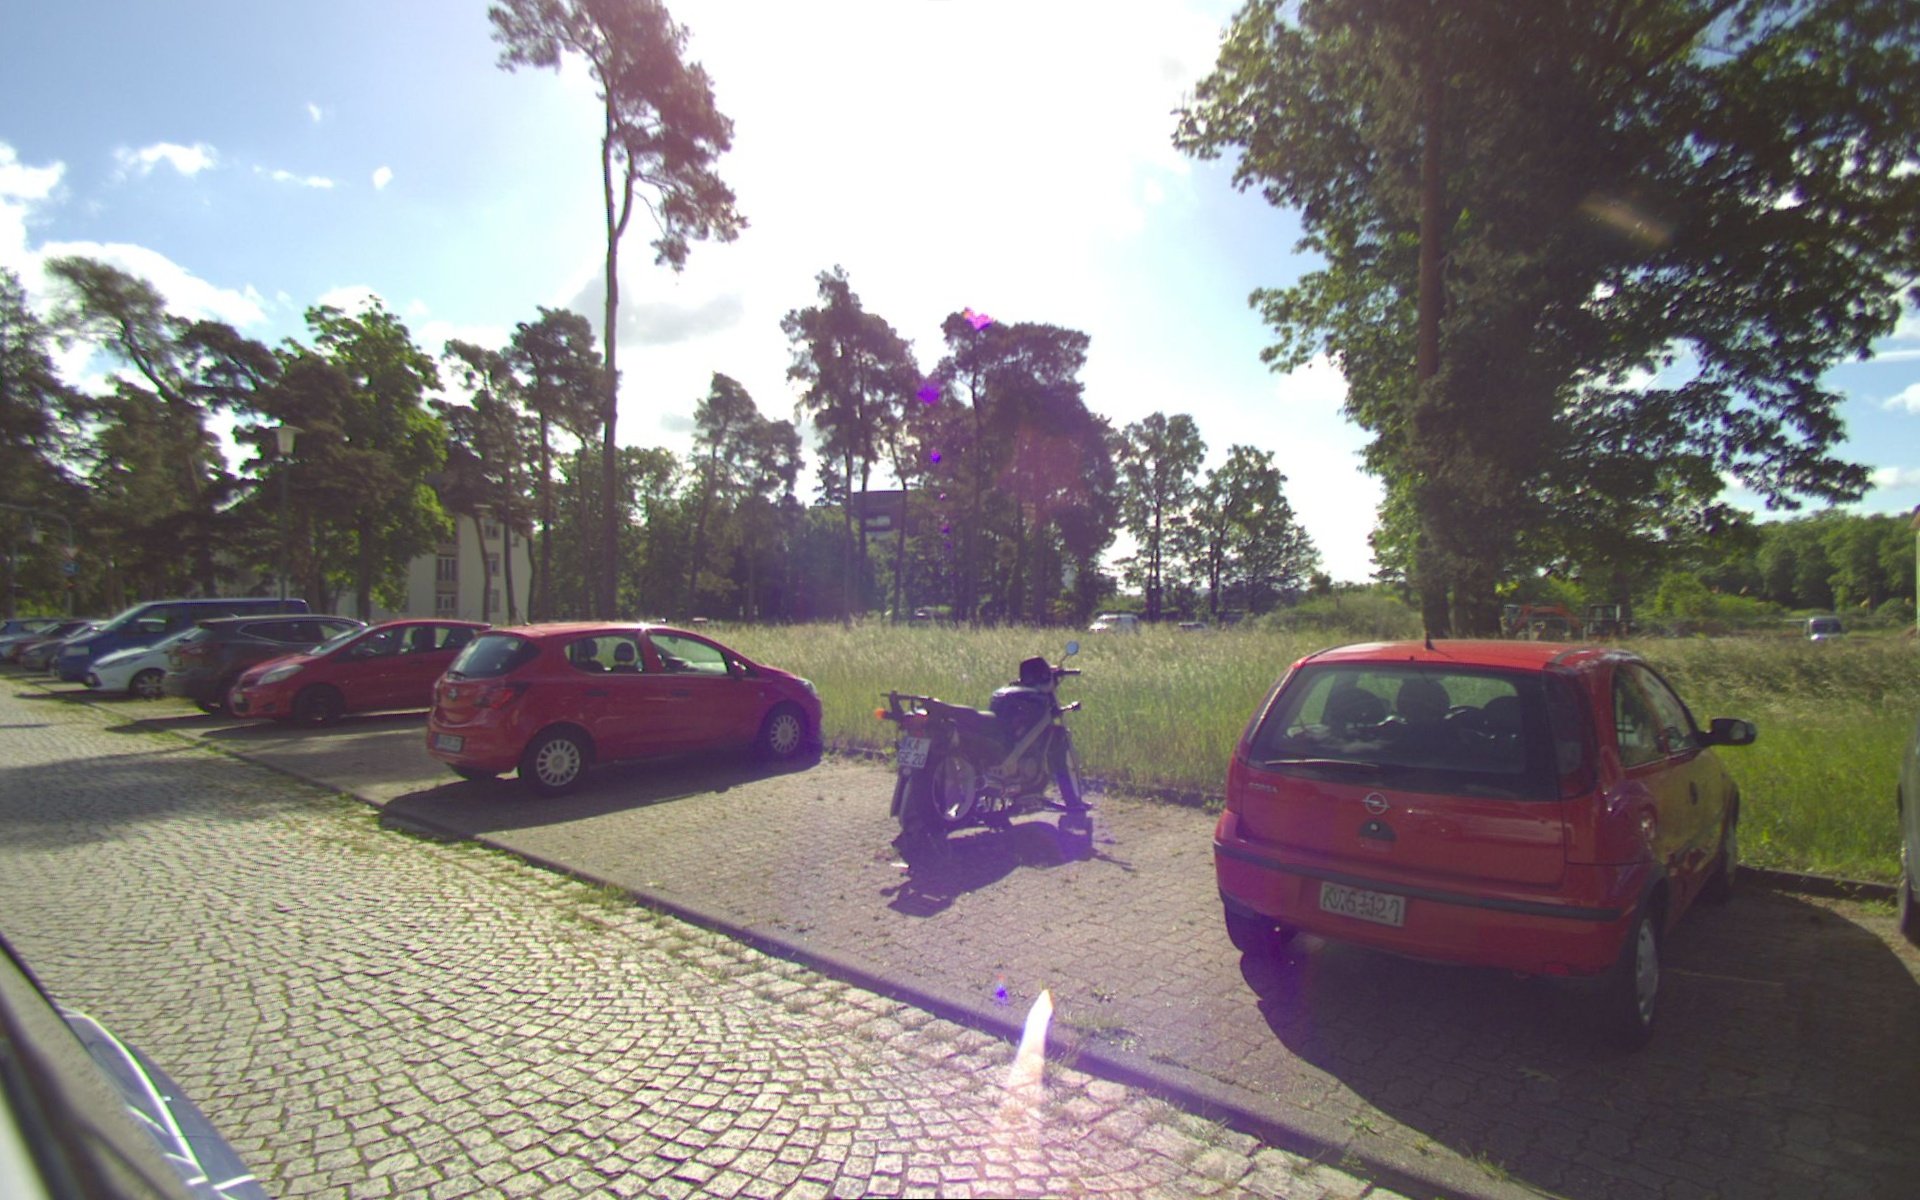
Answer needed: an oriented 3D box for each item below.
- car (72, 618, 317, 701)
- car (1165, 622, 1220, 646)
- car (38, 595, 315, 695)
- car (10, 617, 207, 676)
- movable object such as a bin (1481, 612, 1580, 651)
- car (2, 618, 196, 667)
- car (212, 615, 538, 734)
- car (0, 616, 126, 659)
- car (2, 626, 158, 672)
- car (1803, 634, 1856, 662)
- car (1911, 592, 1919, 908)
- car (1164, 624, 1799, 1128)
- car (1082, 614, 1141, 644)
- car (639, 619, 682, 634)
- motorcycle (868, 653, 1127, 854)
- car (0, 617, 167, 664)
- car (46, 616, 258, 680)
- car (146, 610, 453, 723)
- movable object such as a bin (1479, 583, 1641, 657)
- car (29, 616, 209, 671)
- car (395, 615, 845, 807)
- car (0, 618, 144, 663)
[{"bbox_3d":[-15.790,1.158,21.036,1.681,1.451,3.778,-1,0,39],"label":"car"},{"bbox_3d":[16.191,2.363,70.357,1.912,1.617,4.182,-1,-2,43],"label":"car"},{"bbox_3d":[-17.585,0.902,22.902,2.005,1.983,4.668,-1,0,42],"label":"car"},{"bbox_3d":[-23.747,1.235,28.306,1.923,1.436,4.032,-1,0,43],"label":"car"},{"bbox_3d":[33.648,1.841,59.932,2.491,2.142,5.682,1,-1,-2],"label":"movable object such as a bin"},{"bbox_3d":[-29.004,1.368,34.227,1.938,1.431,4.812,-1,0,42],"label":"car"},{"bbox_3d":[-8.730,1.013,15.337,1.865,1.460,3.883,-1,0,40],"label":"car"},{"bbox_3d":[-34.958,1.428,39.091,1.947,1.494,3.986,-2,-1,40],"label":"car"},{"bbox_3d":[-27.833,1.501,32.067,1.760,1.243,3.591,0,1,43],"label":"car"},{"bbox_3d":[60.964,3.315,71.018,1.987,1.868,4.096,0,-2,29],"label":"car"},{"bbox_3d":[4.246,0.739,3.038,1.884,1.591,4.091,-1,-1,42],"label":"car"},{"bbox_3d":[2.859,0.870,5.079,1.842,1.444,3.880,-1,-1,43],"label":"car"},{"bbox_3d":[11.213,2.124,74.596,1.957,2.180,4.793,-1,-2,43],"label":"car"},{"bbox_3d":[-31.487,2.814,106.521,1.720,1.593,4.050,-1,-2,43],"label":"car"},{"bbox_3d":[0.350,1.017,7.359,0.577,1.170,2.217,-1,-1,43],"label":"motorcycle"},{"bbox_3d":[-31.023,1.380,35.483,1.938,1.431,4.812,0,1,42],"label":"car"},{"bbox_3d":[-21.261,1.204,26.765,1.823,1.486,4.152,-1,0,42],"label":"car"},{"bbox_3d":[-10.943,1.005,16.959,1.972,1.579,3.913,-2,-1,40],"label":"car"},{"bbox_3d":[32.032,1.055,54.461,6.736,3.759,3.907,0,-1,18],"label":"movable object such as a bin"},{"bbox_3d":[-25.458,1.272,30.723,1.822,1.463,4.032,0,1,43],"label":"car"},{"bbox_3d":[-3.210,0.919,10.119,1.841,1.472,3.883,-1,-1,40],"label":"car"},{"bbox_3d":[-33.126,1.453,37.210,1.982,1.463,4.537,0,0,38],"label":"car"}]
